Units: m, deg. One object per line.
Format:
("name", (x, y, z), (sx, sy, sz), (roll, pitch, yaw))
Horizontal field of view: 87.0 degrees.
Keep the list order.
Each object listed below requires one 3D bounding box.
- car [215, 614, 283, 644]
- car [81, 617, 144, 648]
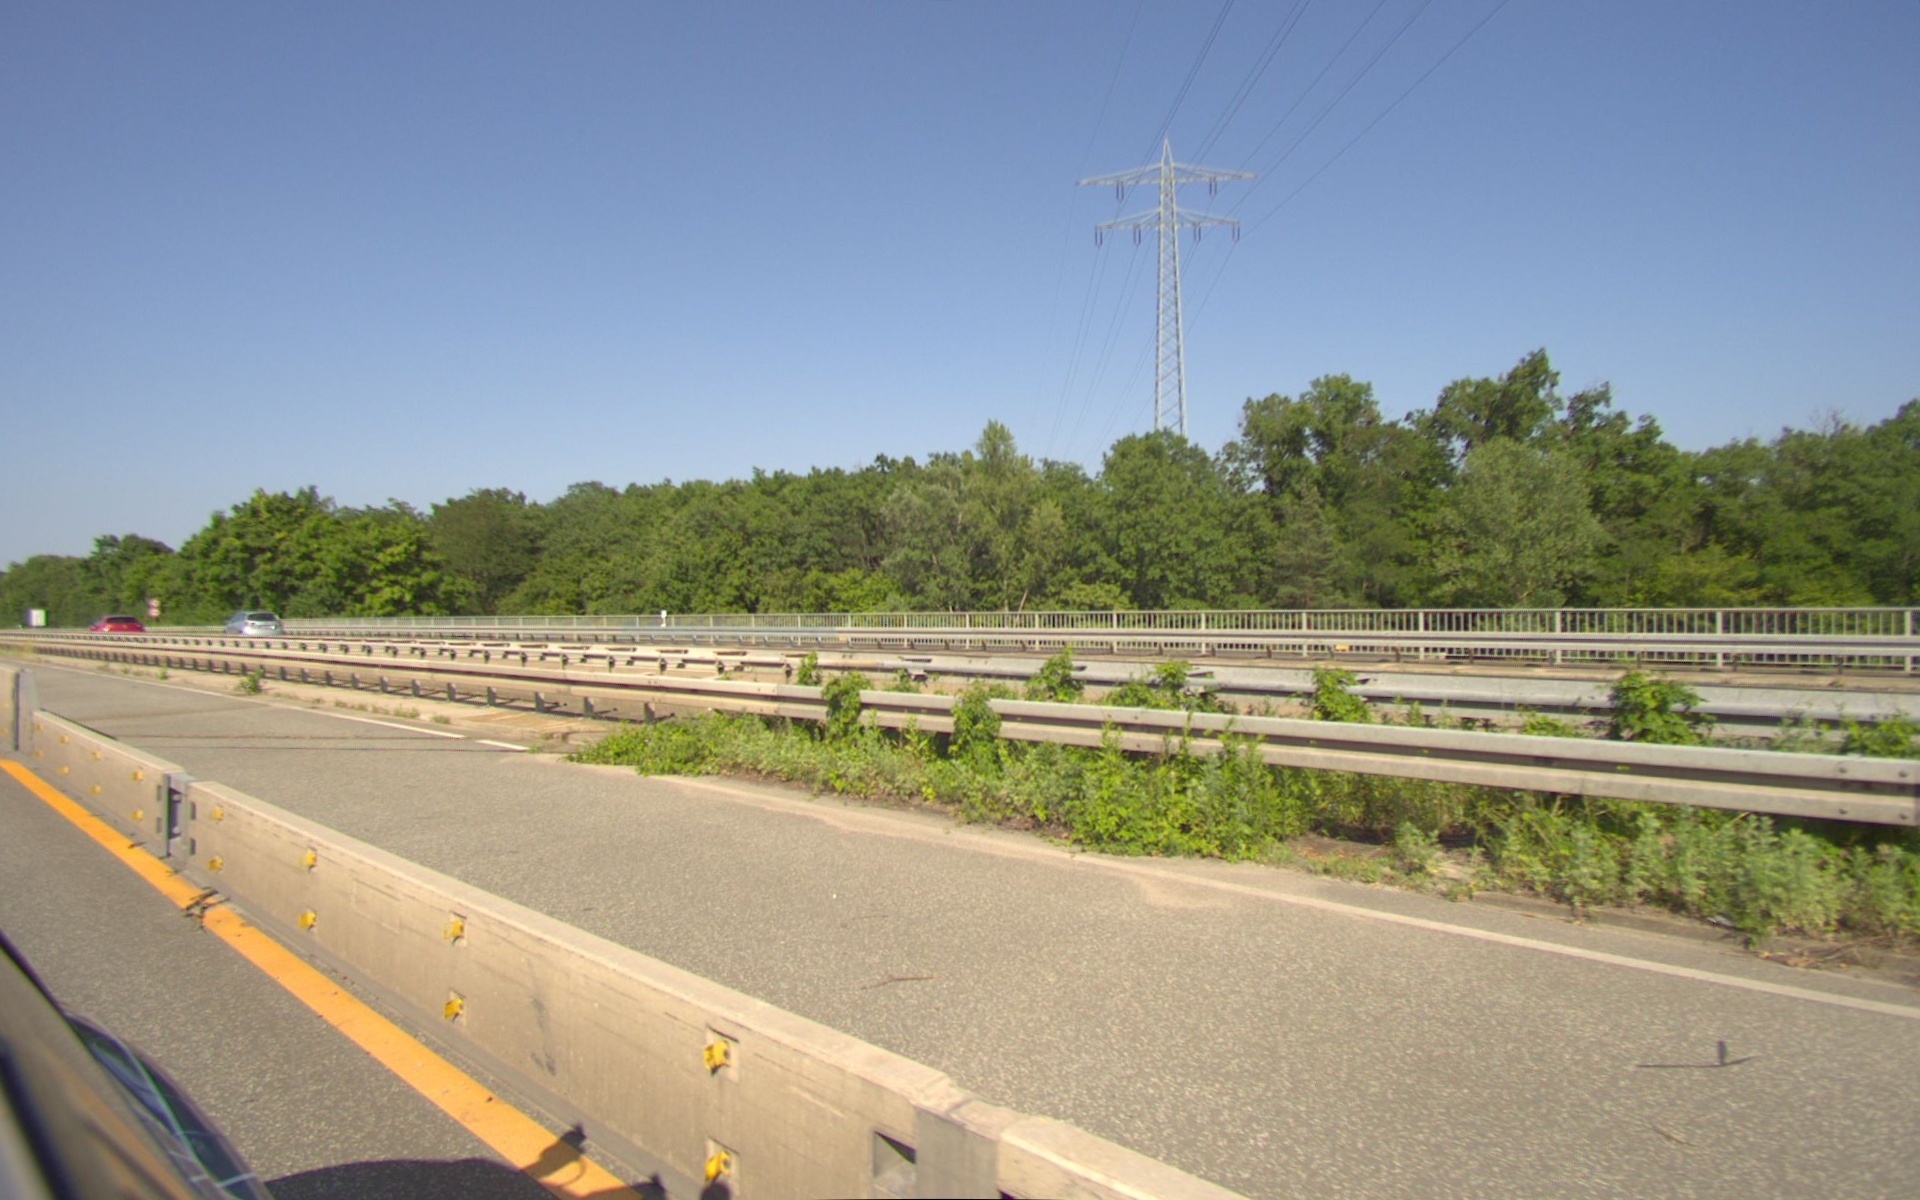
("car", (-34.820, 1.399, 49.540), (4.123, 1.403, 1.759), (-1, -2, 41))
("car", (-42.037, 1.590, 50.152), (4.218, 1.407, 1.697), (-1, -1, 40))
